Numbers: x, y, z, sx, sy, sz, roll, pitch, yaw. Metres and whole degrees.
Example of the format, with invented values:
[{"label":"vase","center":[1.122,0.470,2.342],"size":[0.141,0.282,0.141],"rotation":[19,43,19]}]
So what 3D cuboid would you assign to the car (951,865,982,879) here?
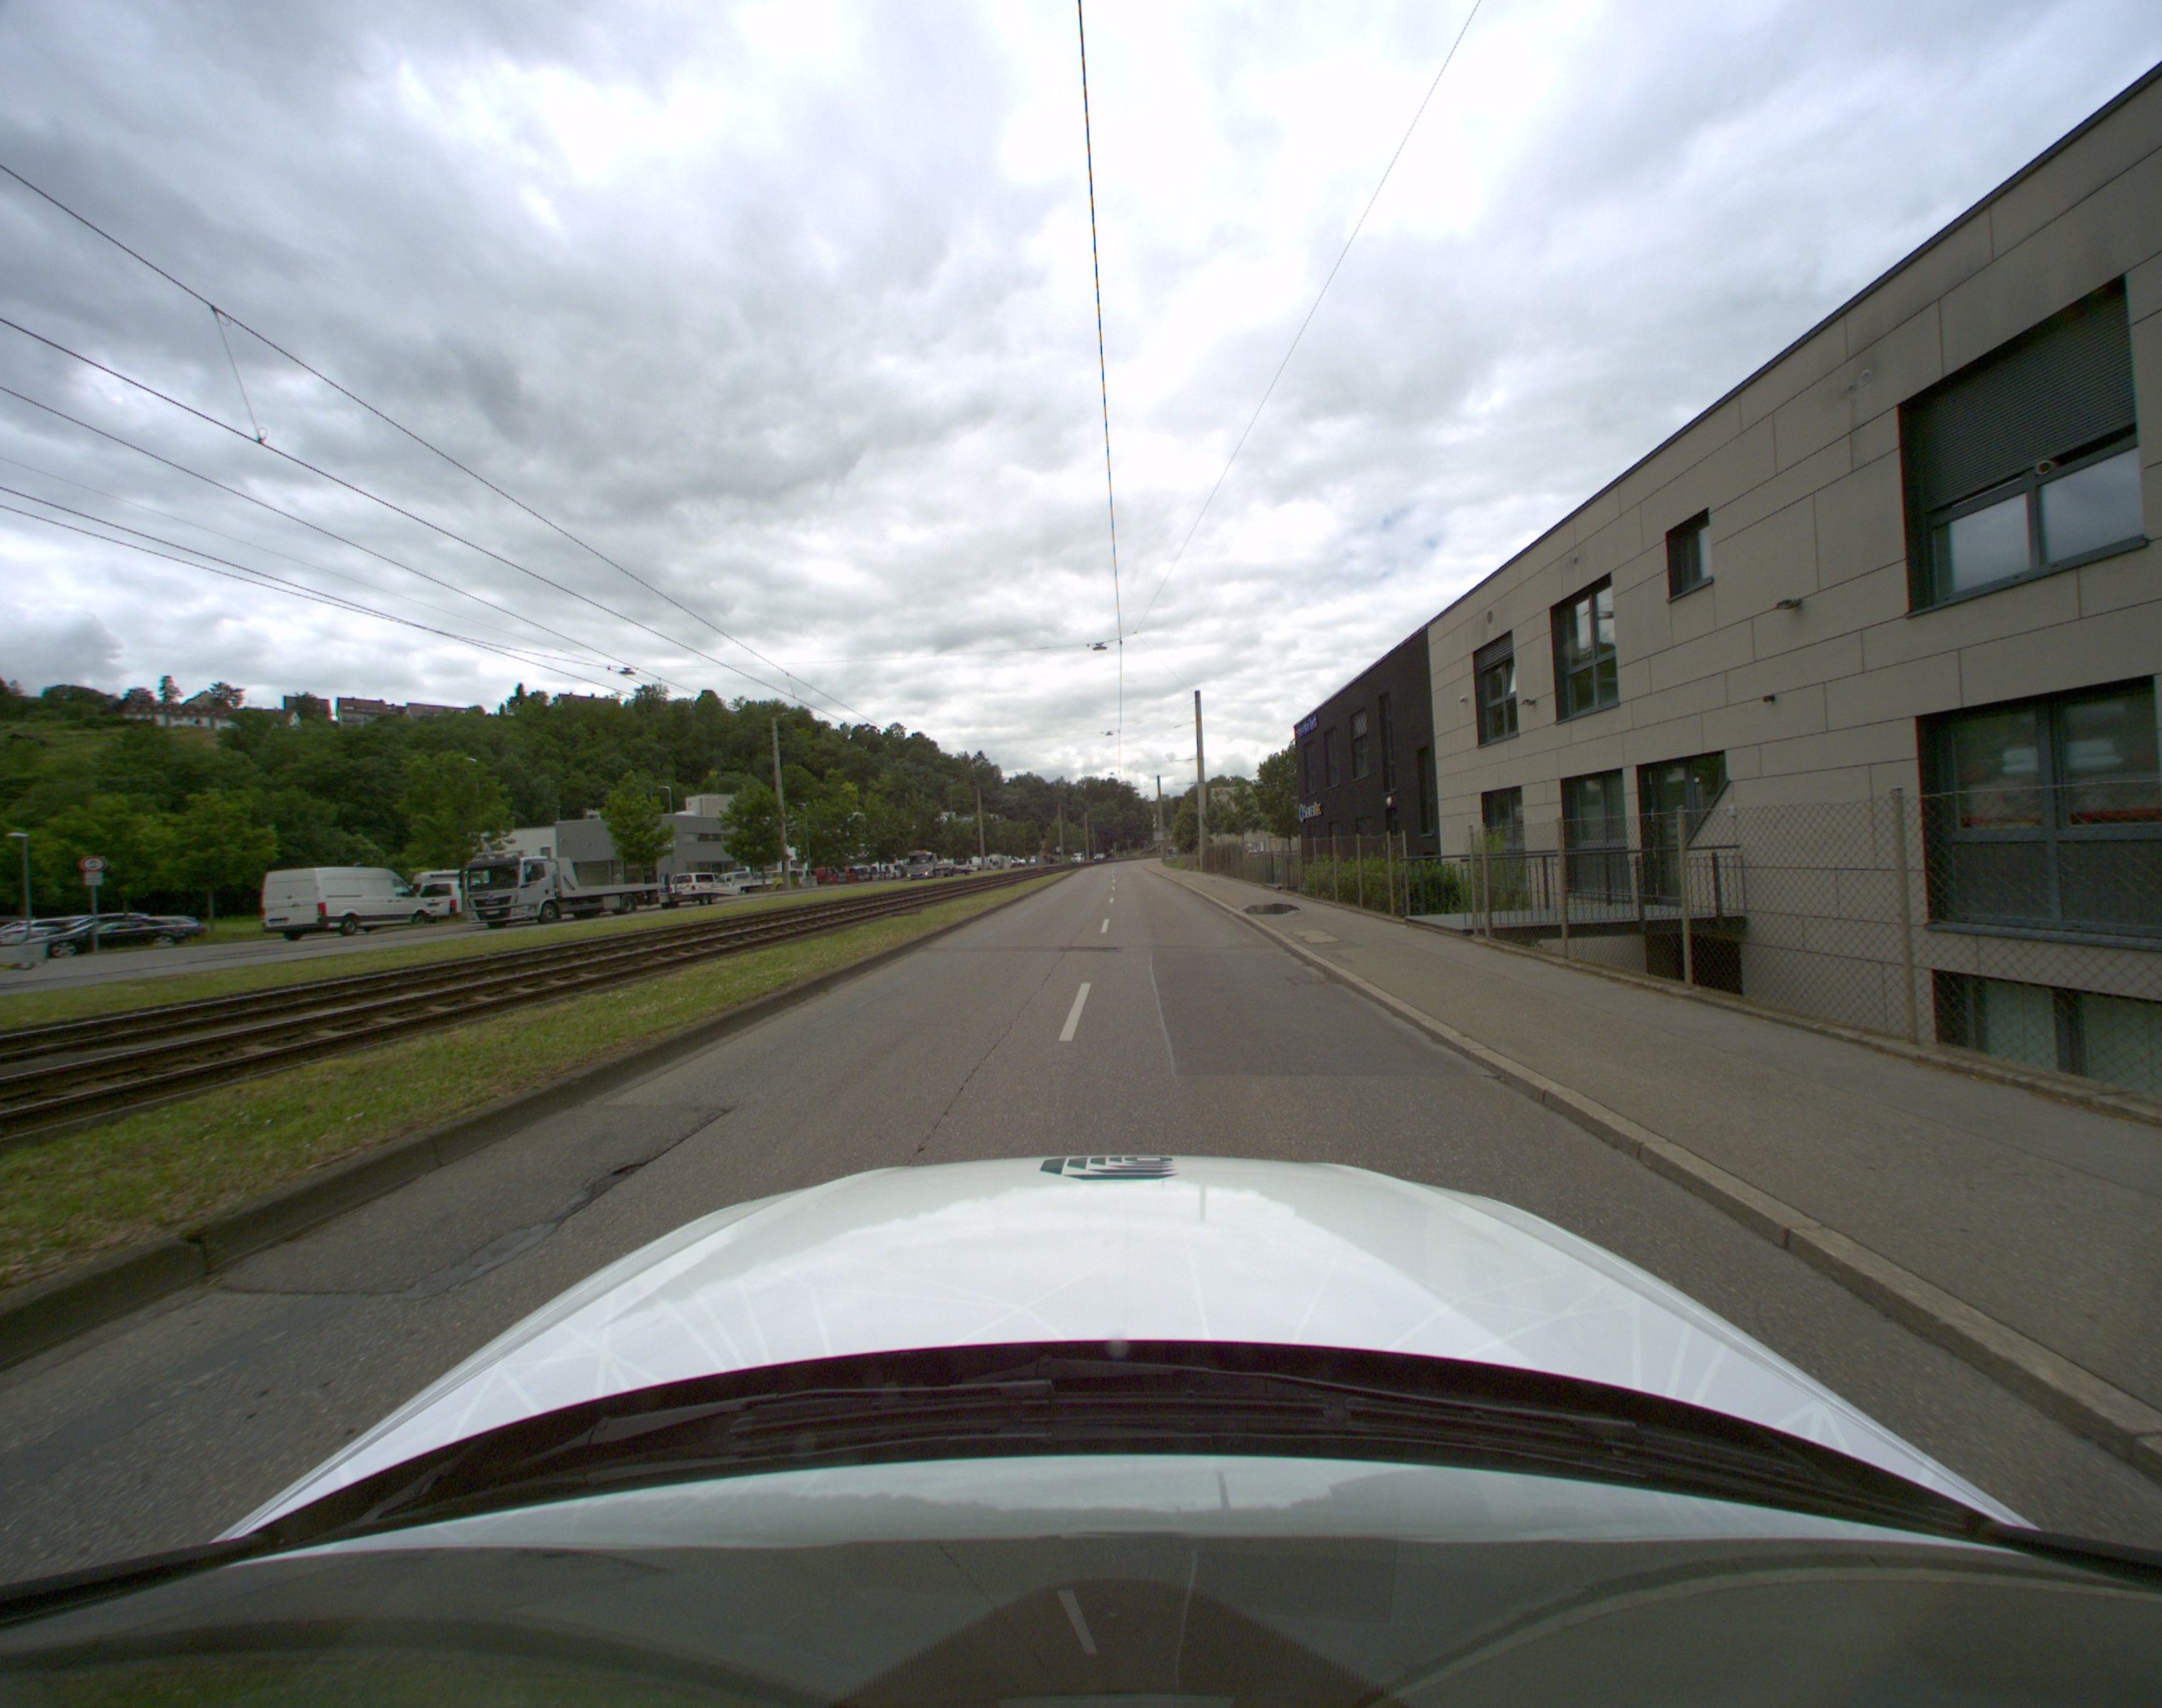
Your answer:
[{"label":"car","center":[-16.654,2.631,118.877],"size":[3.963,1.705,1.839],"rotation":[-4,1,9]}]

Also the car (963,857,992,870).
[{"label":"car","center":[-15.764,1.451,124.171],"size":[3.963,1.706,1.838],"rotation":[-4,-4,9]}]

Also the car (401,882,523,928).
[{"label":"car","center":[-28.432,2.347,37.611],"size":[2.146,1.877,4.259],"rotation":[-3,-4,4]}]

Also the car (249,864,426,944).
[{"label":"car","center":[-28.235,1.779,31.259],"size":[1.999,2.646,5.429],"rotation":[-3,0,-5]}]

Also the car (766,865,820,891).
[{"label":"car","center":[-25.338,2.115,71.664],"size":[3.967,2.014,2.003],"rotation":[-3,-4,5]}]

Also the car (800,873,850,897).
[{"label":"car","center":[-24.402,2.981,77.671],"size":[3.967,2.014,2.003],"rotation":[-3,-4,5]}]

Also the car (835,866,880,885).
[{"label":"car","center":[-23.185,2.222,84.493],"size":[3.963,1.705,1.839],"rotation":[-4,1,9]}]

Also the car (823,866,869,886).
[{"label":"car","center":[-23.748,2.243,82.304],"size":[3.963,1.706,1.839],"rotation":[-4,-1,9]}]

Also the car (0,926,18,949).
[{"label":"car","center":[-63.351,4.897,45.849],"size":[1.590,1.266,4.024],"rotation":[-3,0,27]}]

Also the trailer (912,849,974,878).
[{"label":"trailer","center":[-14.115,0.893,84.481],"size":[2.874,2.583,10.025],"rotation":[-3,0,11]}]

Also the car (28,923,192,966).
[{"label":"car","center":[-39.576,3.654,33.306],"size":[1.590,1.266,4.024],"rotation":[-3,0,27]}]

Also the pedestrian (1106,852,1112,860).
[{"label":"pedestrian","center":[6.786,0.487,198.439],"size":[1.005,2.014,1.151],"rotation":[-4,-4,19]}]

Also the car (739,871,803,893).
[{"label":"car","center":[-26.104,2.366,68.720],"size":[4.573,1.575,2.002],"rotation":[-3,-4,5]}]

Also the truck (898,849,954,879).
[{"label":"truck","center":[-15.042,0.939,79.595],"size":[2.865,2.589,6.932],"rotation":[-3,0,11]}]

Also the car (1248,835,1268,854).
[{"label":"car","center":[17.384,-0.973,79.945],"size":[1.815,1.706,3.818],"rotation":[-4,0,12]}]

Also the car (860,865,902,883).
[{"label":"car","center":[-22.025,2.194,89.688],"size":[3.963,1.705,1.839],"rotation":[-4,0,9]}]

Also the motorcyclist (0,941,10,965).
[{"label":"motorcyclist","center":[-45.072,4.131,33.842],"size":[0.651,0.945,0.563],"rotation":[-3,-1,27]}]

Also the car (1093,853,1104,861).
[{"label":"car","center":[3.478,0.586,163.441],"size":[1.985,1.640,4.004],"rotation":[-3,0,3]}]

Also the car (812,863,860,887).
[{"label":"car","center":[-24.095,2.079,80.032],"size":[3.967,2.014,2.003],"rotation":[-3,-4,5]}]

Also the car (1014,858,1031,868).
[{"label":"car","center":[-11.072,1.685,153.930],"size":[1.815,1.706,4.157],"rotation":[-4,-4,14]}]

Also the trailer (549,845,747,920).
[{"label":"trailer","center":[-20.121,1.154,39.050],"size":[2.879,2.982,10.804],"rotation":[-3,0,4]}]

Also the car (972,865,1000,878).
[{"label":"car","center":[-14.960,2.728,127.894],"size":[3.963,1.706,1.838],"rotation":[-4,-4,9]}]

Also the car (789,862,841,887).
[{"label":"car","center":[-24.420,1.915,74.813],"size":[3.967,2.014,2.003],"rotation":[-3,-4,5]}]

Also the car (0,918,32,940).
[{"label":"car","center":[-68.858,4.836,50.755],"size":[1.590,1.266,4.024],"rotation":[-3,0,27]}]

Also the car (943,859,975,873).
[{"label":"car","center":[-16.965,1.657,113.562],"size":[3.963,1.706,1.838],"rotation":[-4,-4,9]}]

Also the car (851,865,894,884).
[{"label":"car","center":[-22.345,2.169,87.198],"size":[3.963,1.706,1.839],"rotation":[-4,0,9]}]

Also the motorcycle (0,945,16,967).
[{"label":"motorcycle","center":[-45.071,4.237,33.849],"size":[1.912,0.852,0.597],"rotation":[-3,-1,27]}]

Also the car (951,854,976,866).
[{"label":"car","center":[-20.379,1.075,141.419],"size":[4.123,1.706,1.830],"rotation":[-3,-4,-5]}]

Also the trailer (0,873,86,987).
[{"label":"trailer","center":[-21.867,1.589,13.100],"size":[2.282,2.128,7.326],"rotation":[-6,0,4]}]

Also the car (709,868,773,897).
[{"label":"car","center":[-26.290,2.213,63.009],"size":[4.553,1.898,2.011],"rotation":[-5,-4,25]}]

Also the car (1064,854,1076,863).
[{"label":"car","center":[-2.193,0.889,162.225],"size":[1.985,1.640,4.004],"rotation":[-3,0,3]}]

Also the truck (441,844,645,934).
[{"label":"truck","center":[-20.684,1.219,31.939],"size":[2.869,2.990,6.921],"rotation":[-3,0,5]}]

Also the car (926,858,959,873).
[{"label":"car","center":[-18.651,1.509,109.996],"size":[3.963,1.706,1.838],"rotation":[-4,-4,9]}]

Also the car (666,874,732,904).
[{"label":"car","center":[-26.245,2.466,56.158],"size":[1.984,1.898,4.616],"rotation":[-3,-4,6]}]

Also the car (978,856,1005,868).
[{"label":"car","center":[-14.458,1.331,131.323],"size":[3.963,1.706,1.838],"rotation":[-4,-4,9]}]

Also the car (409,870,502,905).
[{"label":"car","center":[-44.150,2.342,57.598],"size":[1.589,2.191,4.910],"rotation":[-3,0,30]}]

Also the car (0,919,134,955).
[{"label":"car","center":[-48.750,3.926,39.063],"size":[1.590,1.266,4.024],"rotation":[-3,0,27]}]
